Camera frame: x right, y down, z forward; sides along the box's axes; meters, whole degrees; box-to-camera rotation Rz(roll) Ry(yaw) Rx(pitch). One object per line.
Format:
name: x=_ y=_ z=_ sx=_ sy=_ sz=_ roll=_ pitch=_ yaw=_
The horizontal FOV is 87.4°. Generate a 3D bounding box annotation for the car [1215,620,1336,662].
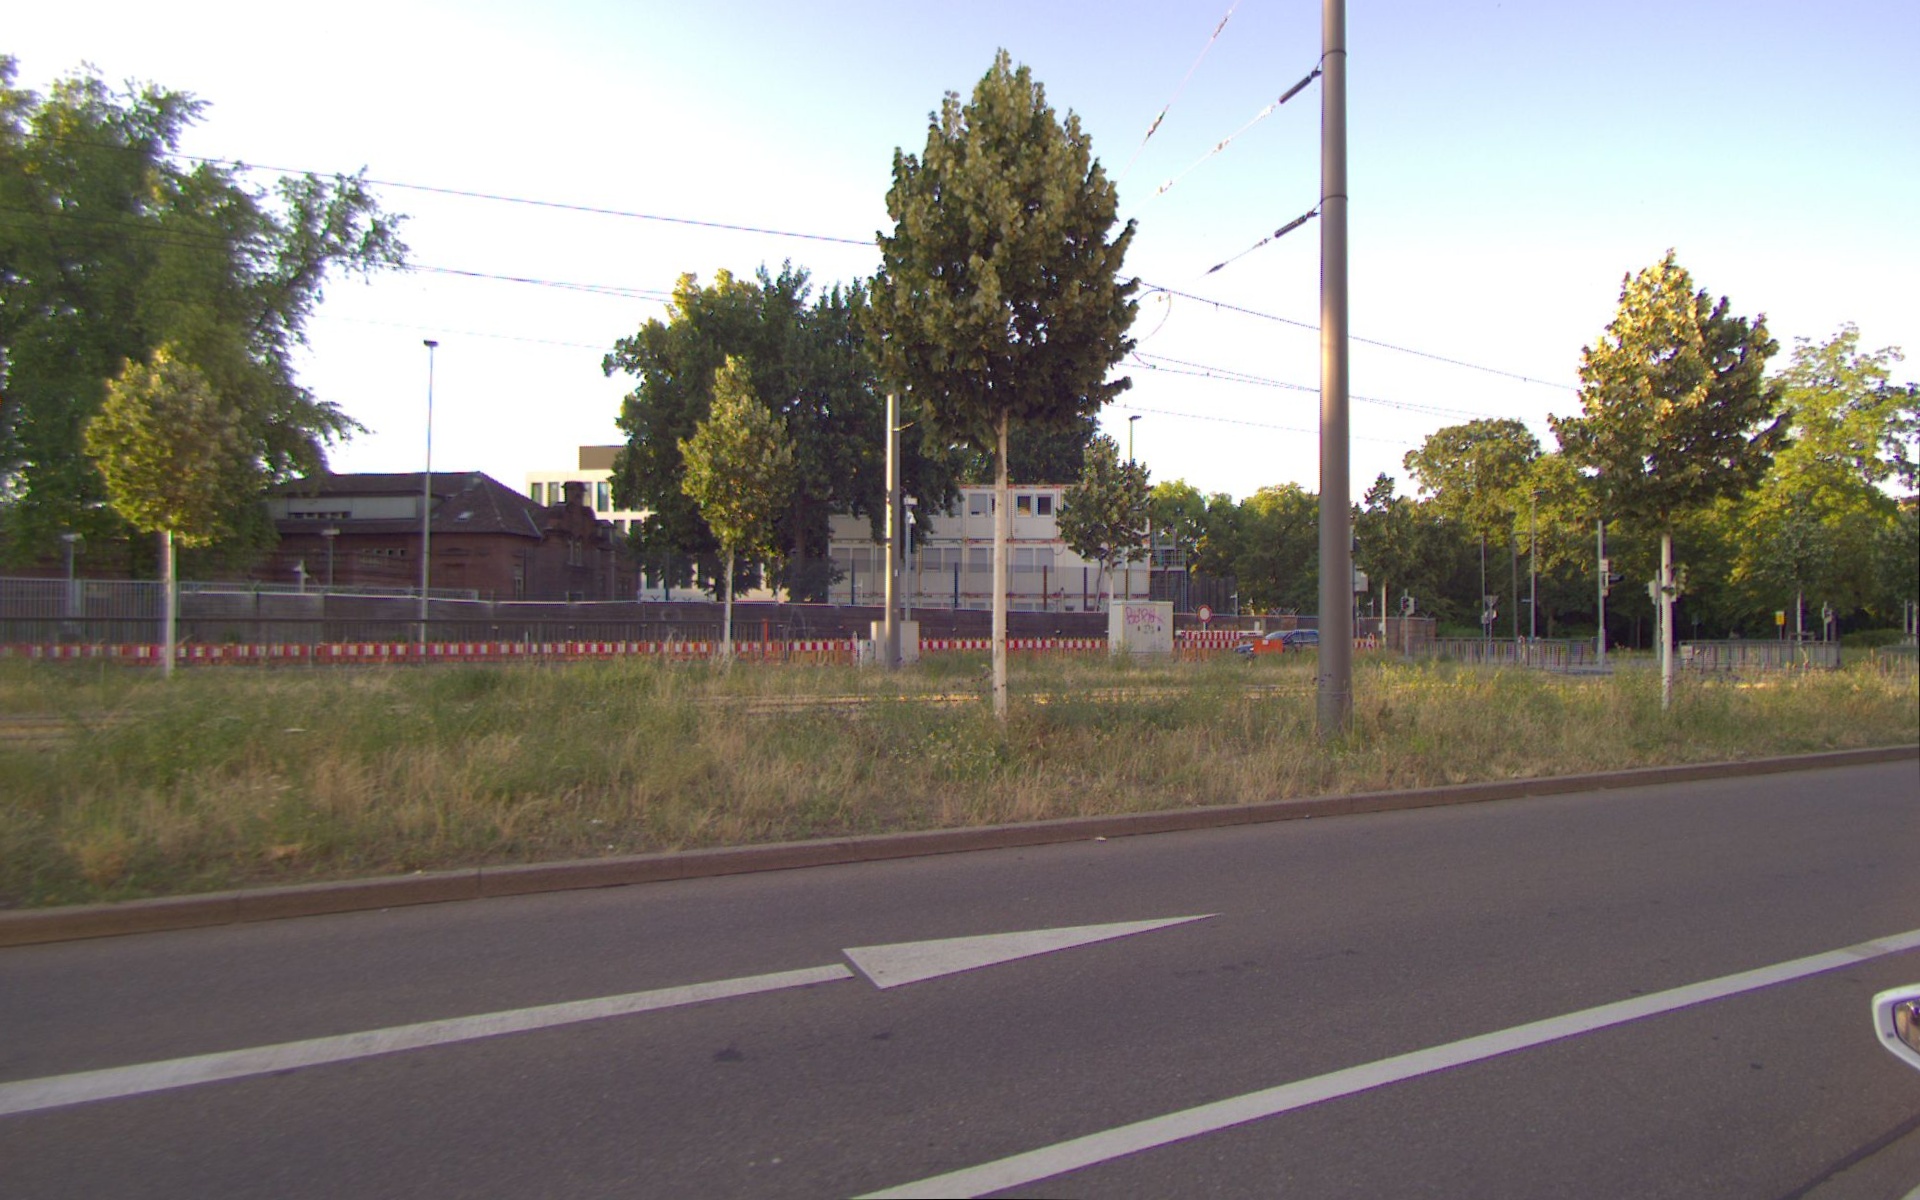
car: x=12.629 y=1.597 z=40.197 sx=4.457 sy=1.501 sz=1.928 roll=0 pitch=0 yaw=-23
